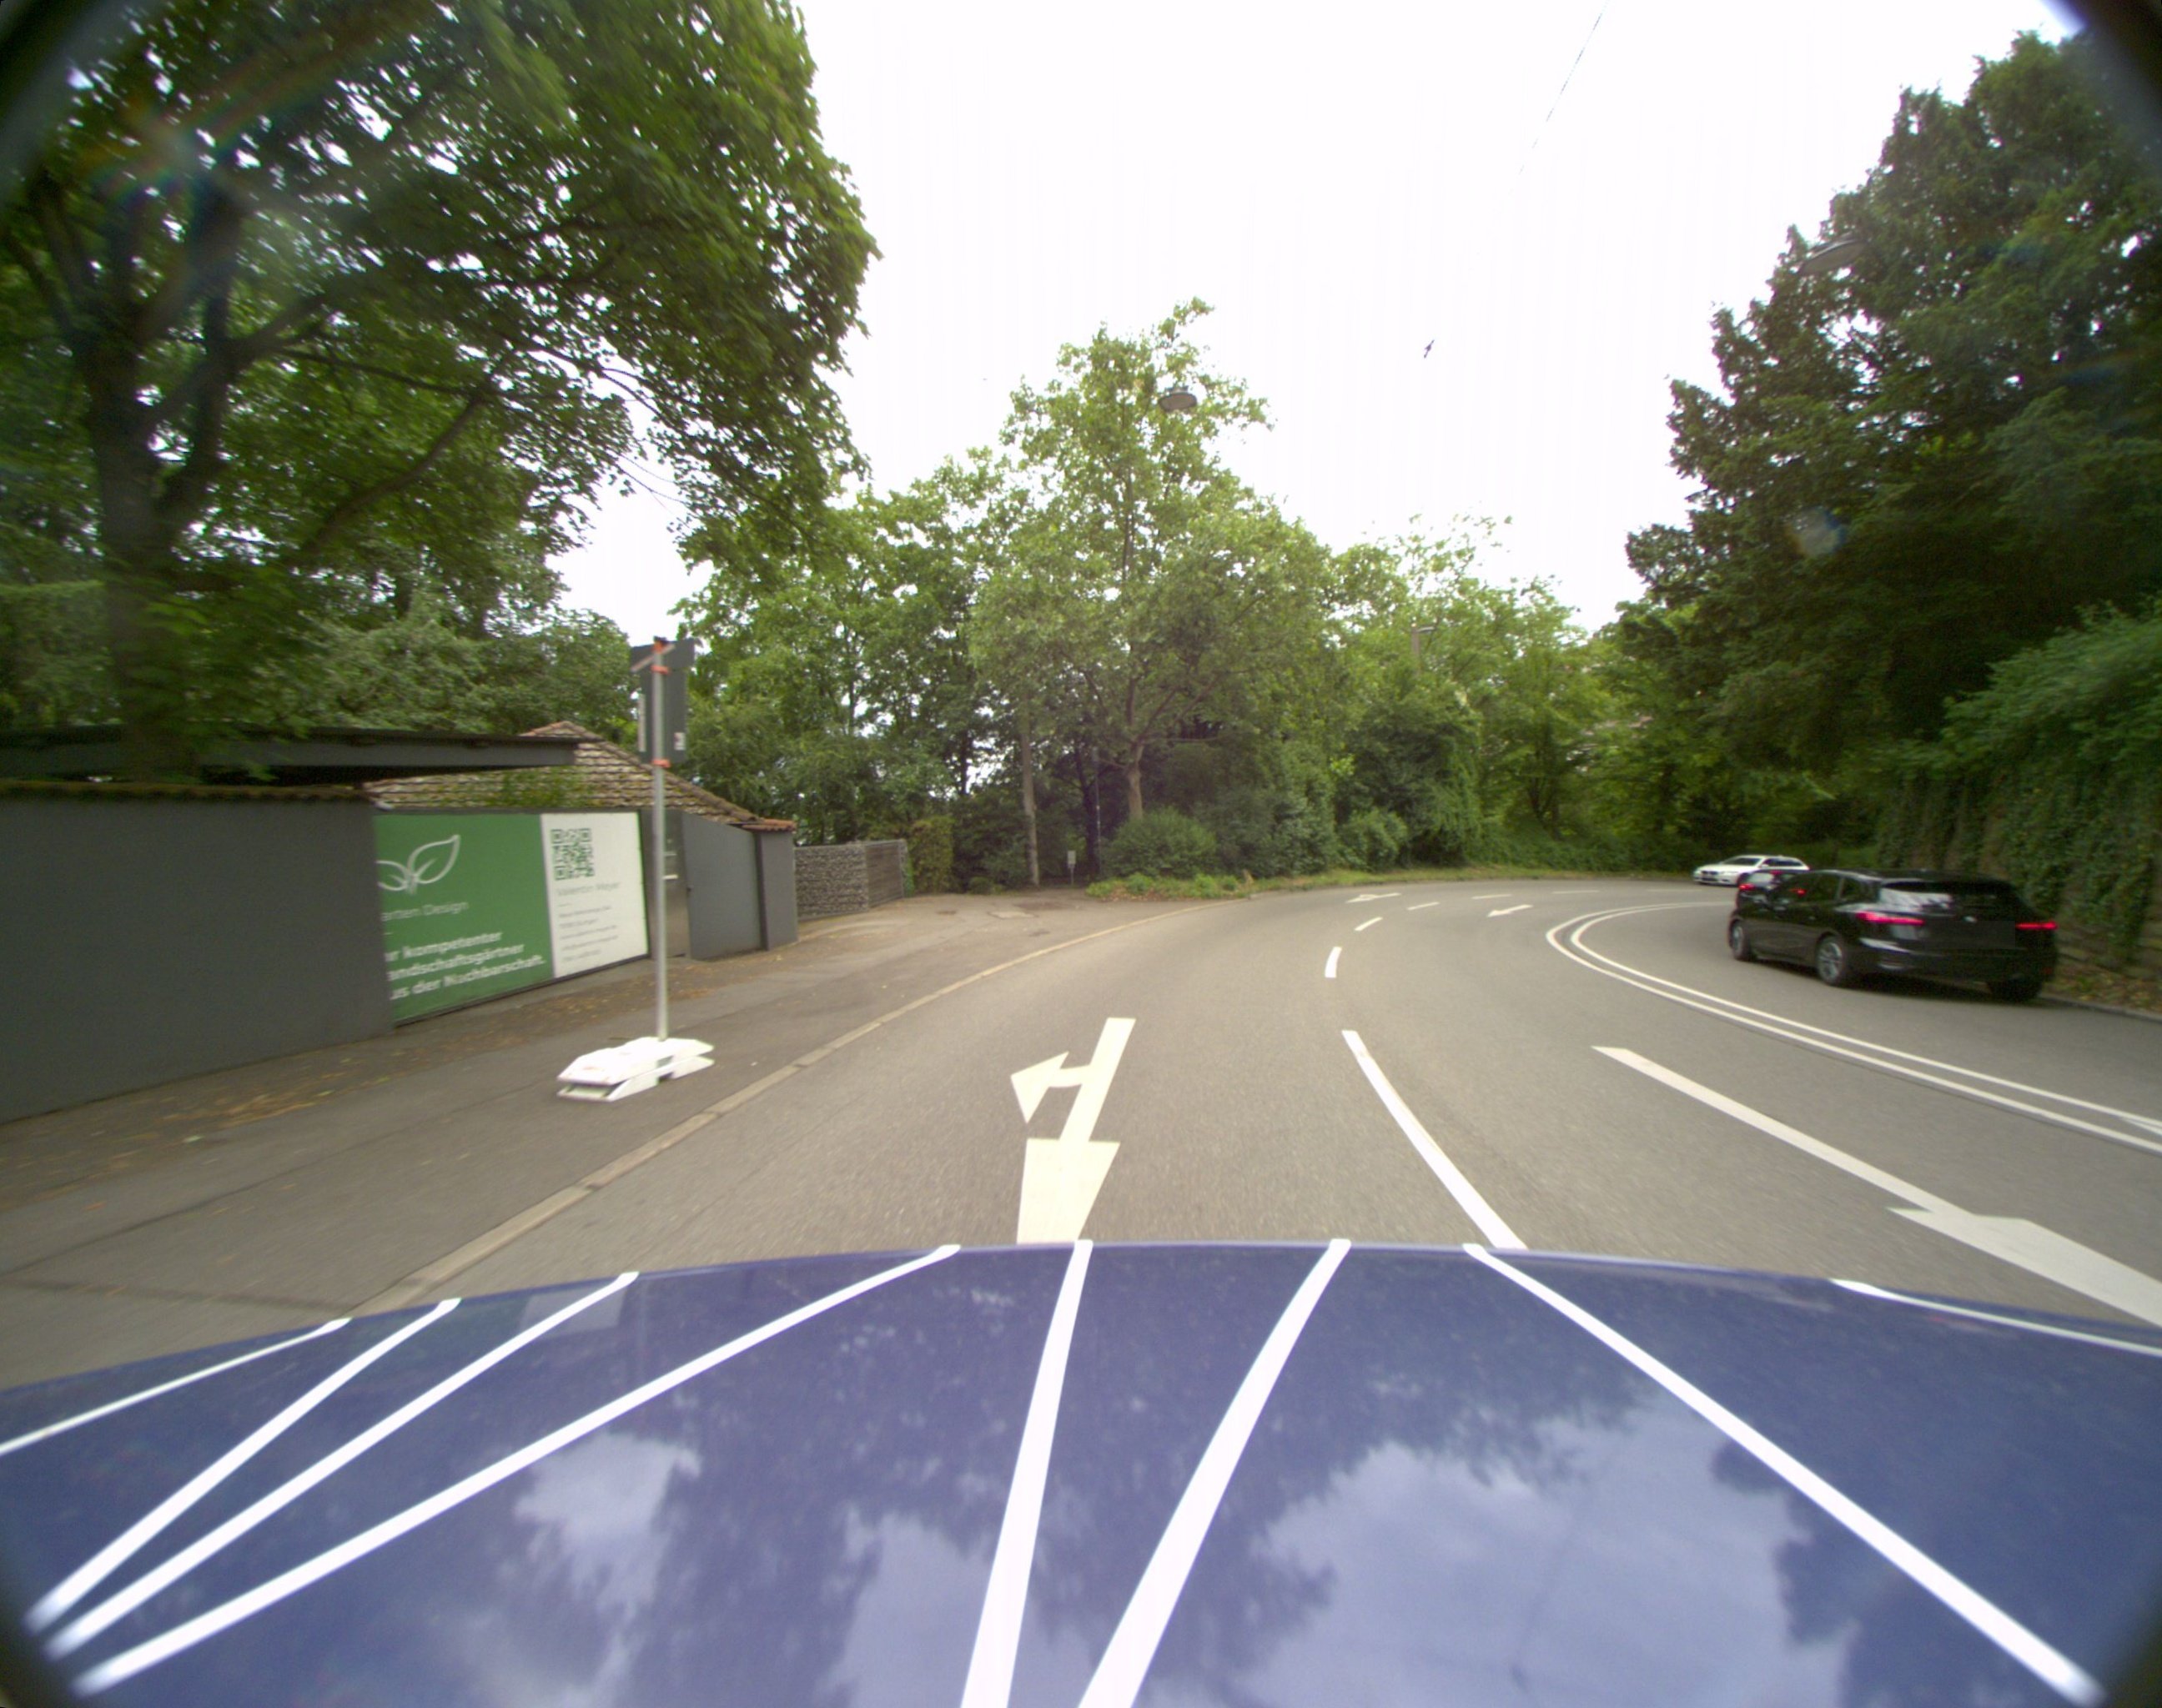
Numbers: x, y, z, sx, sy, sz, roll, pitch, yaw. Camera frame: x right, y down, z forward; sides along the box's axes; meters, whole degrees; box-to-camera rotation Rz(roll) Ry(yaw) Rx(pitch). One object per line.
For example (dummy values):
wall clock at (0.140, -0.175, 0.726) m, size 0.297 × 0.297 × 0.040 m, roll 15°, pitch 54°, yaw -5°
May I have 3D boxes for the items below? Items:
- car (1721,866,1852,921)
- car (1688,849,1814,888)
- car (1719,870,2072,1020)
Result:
car at (21.296, 1.142, 22.915) m, size 4.007 × 1.435 × 1.802 m, roll 1°, pitch 2°, yaw -31°
car at (30.448, 0.633, 34.590) m, size 4.528 × 1.543 × 1.914 m, roll 1°, pitch 5°, yaw -13°
car at (10.767, 1.044, 10.517) m, size 1.605 × 1.564 × 4.069 m, roll 1°, pitch 0°, yaw 20°
